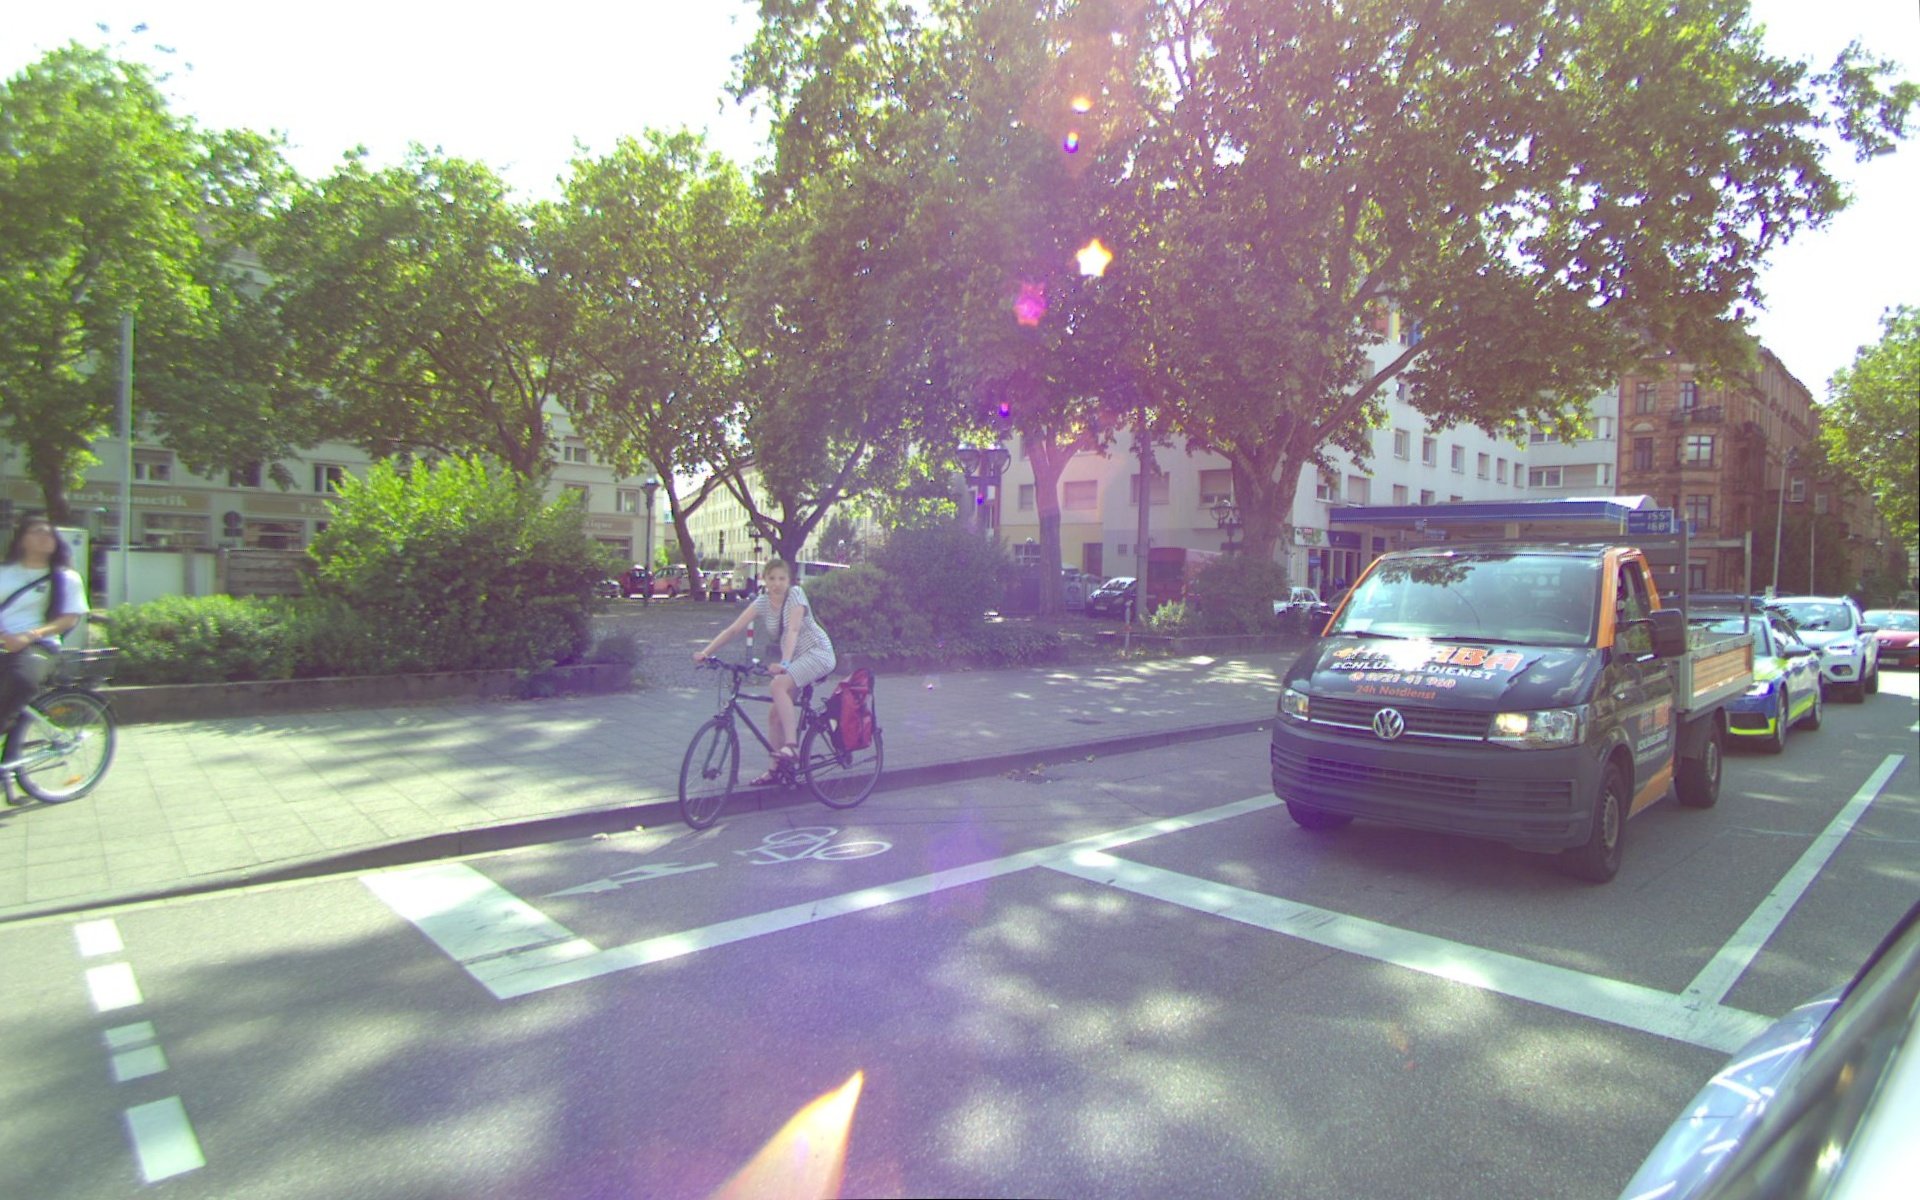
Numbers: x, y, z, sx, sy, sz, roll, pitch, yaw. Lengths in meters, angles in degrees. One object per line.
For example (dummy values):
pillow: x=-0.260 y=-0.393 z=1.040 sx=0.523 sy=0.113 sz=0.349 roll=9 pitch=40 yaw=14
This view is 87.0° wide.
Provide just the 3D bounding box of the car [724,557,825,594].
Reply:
car: x=-9.883 y=-1.268 z=54.267 sx=1.993 sy=1.896 sz=5.170 roll=-1 pitch=0 yaw=44

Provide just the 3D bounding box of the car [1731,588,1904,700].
car: x=14.758 y=0.653 z=17.317 sx=4.601 sy=1.626 sz=1.762 roll=0 pitch=2 yaw=-44

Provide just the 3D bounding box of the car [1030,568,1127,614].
car: x=4.513 y=-0.341 z=38.176 sx=3.934 sy=1.624 sz=1.527 roll=0 pitch=1 yaw=-45

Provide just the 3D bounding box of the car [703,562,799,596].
car: x=-11.657 y=-1.141 z=56.803 sx=1.897 sy=1.773 sz=5.170 roll=0 pitch=0 yaw=44

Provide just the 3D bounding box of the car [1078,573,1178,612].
car: x=6.009 y=-0.251 z=35.910 sx=3.934 sy=1.310 sz=1.474 roll=0 pitch=0 yaw=-45

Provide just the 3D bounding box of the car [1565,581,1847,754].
car: x=9.119 y=0.627 z=12.176 sx=5.067 sy=1.673 sz=1.869 roll=0 pitch=1 yaw=-43

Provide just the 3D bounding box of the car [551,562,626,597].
car: x=-17.926 y=-1.003 z=48.764 sx=4.073 sy=1.552 sz=1.822 roll=3 pitch=2 yaw=45

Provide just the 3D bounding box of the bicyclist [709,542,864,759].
bicyclist: x=-1.162 y=0.311 z=6.806 sx=0.892 sy=1.360 sz=0.471 roll=0 pitch=2 yaw=-35

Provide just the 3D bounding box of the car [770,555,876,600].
car: x=-6.725 y=-1.078 z=50.225 sx=1.992 sy=2.113 sz=5.173 roll=-1 pitch=0 yaw=42

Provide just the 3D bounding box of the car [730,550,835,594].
car: x=-9.023 y=-1.367 z=51.785 sx=1.994 sy=2.113 sz=5.169 roll=-1 pitch=0 yaw=44

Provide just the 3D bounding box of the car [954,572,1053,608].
car: x=1.769 y=-0.380 z=40.534 sx=3.934 sy=1.381 sz=1.763 roll=0 pitch=0 yaw=-44

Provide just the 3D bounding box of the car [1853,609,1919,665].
car: x=23.163 y=0.883 z=24.708 sx=3.571 sy=1.203 sz=1.619 roll=0 pitch=2 yaw=-42

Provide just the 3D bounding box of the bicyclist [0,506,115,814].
bicyclist: x=-5.363 y=0.314 z=5.842 sx=0.497 sy=1.688 sz=0.584 roll=2 pitch=3 yaw=-4

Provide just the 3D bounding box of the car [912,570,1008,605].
car: x=0.044 y=-0.489 z=42.330 sx=3.934 sy=1.381 sz=1.763 roll=0 pitch=0 yaw=-44

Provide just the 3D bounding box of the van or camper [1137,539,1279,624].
van or camper: x=8.484 y=-0.570 z=34.337 sx=5.257 sy=2.675 sz=2.105 roll=0 pitch=0 yaw=-42

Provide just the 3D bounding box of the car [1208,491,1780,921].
car: x=4.138 y=0.394 z=7.296 sx=5.248 sy=2.011 sz=2.077 roll=-2 pitch=3 yaw=-44

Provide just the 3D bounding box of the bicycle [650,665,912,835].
bicycle: x=-1.171 y=0.958 z=6.818 sx=1.684 sy=0.932 sz=0.471 roll=0 pitch=2 yaw=-35

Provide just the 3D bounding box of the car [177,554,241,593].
car: x=-35.291 y=-1.248 z=47.541 sx=4.073 sy=1.680 sz=1.822 roll=3 pitch=2 yaw=45

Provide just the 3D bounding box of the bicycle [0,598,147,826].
bicycle: x=-5.364 y=0.618 z=5.611 sx=0.497 sy=1.126 sz=1.634 roll=2 pitch=3 yaw=-4

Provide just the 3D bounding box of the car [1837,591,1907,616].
car: x=79.353 y=0.323 z=88.095 sx=1.967 sy=1.942 sz=4.406 roll=0 pitch=2 yaw=-44

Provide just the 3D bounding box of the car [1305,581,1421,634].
car: x=11.976 y=0.189 z=29.992 sx=3.934 sy=1.428 sz=1.754 roll=0 pitch=2 yaw=-44

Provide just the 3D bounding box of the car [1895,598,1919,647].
car: x=32.534 y=0.745 z=33.723 sx=4.117 sy=1.517 sz=1.762 roll=0 pitch=2 yaw=-44

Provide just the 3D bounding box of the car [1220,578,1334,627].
car: x=10.034 y=0.062 z=31.904 sx=3.934 sy=1.428 sz=1.754 roll=0 pitch=2 yaw=-44
